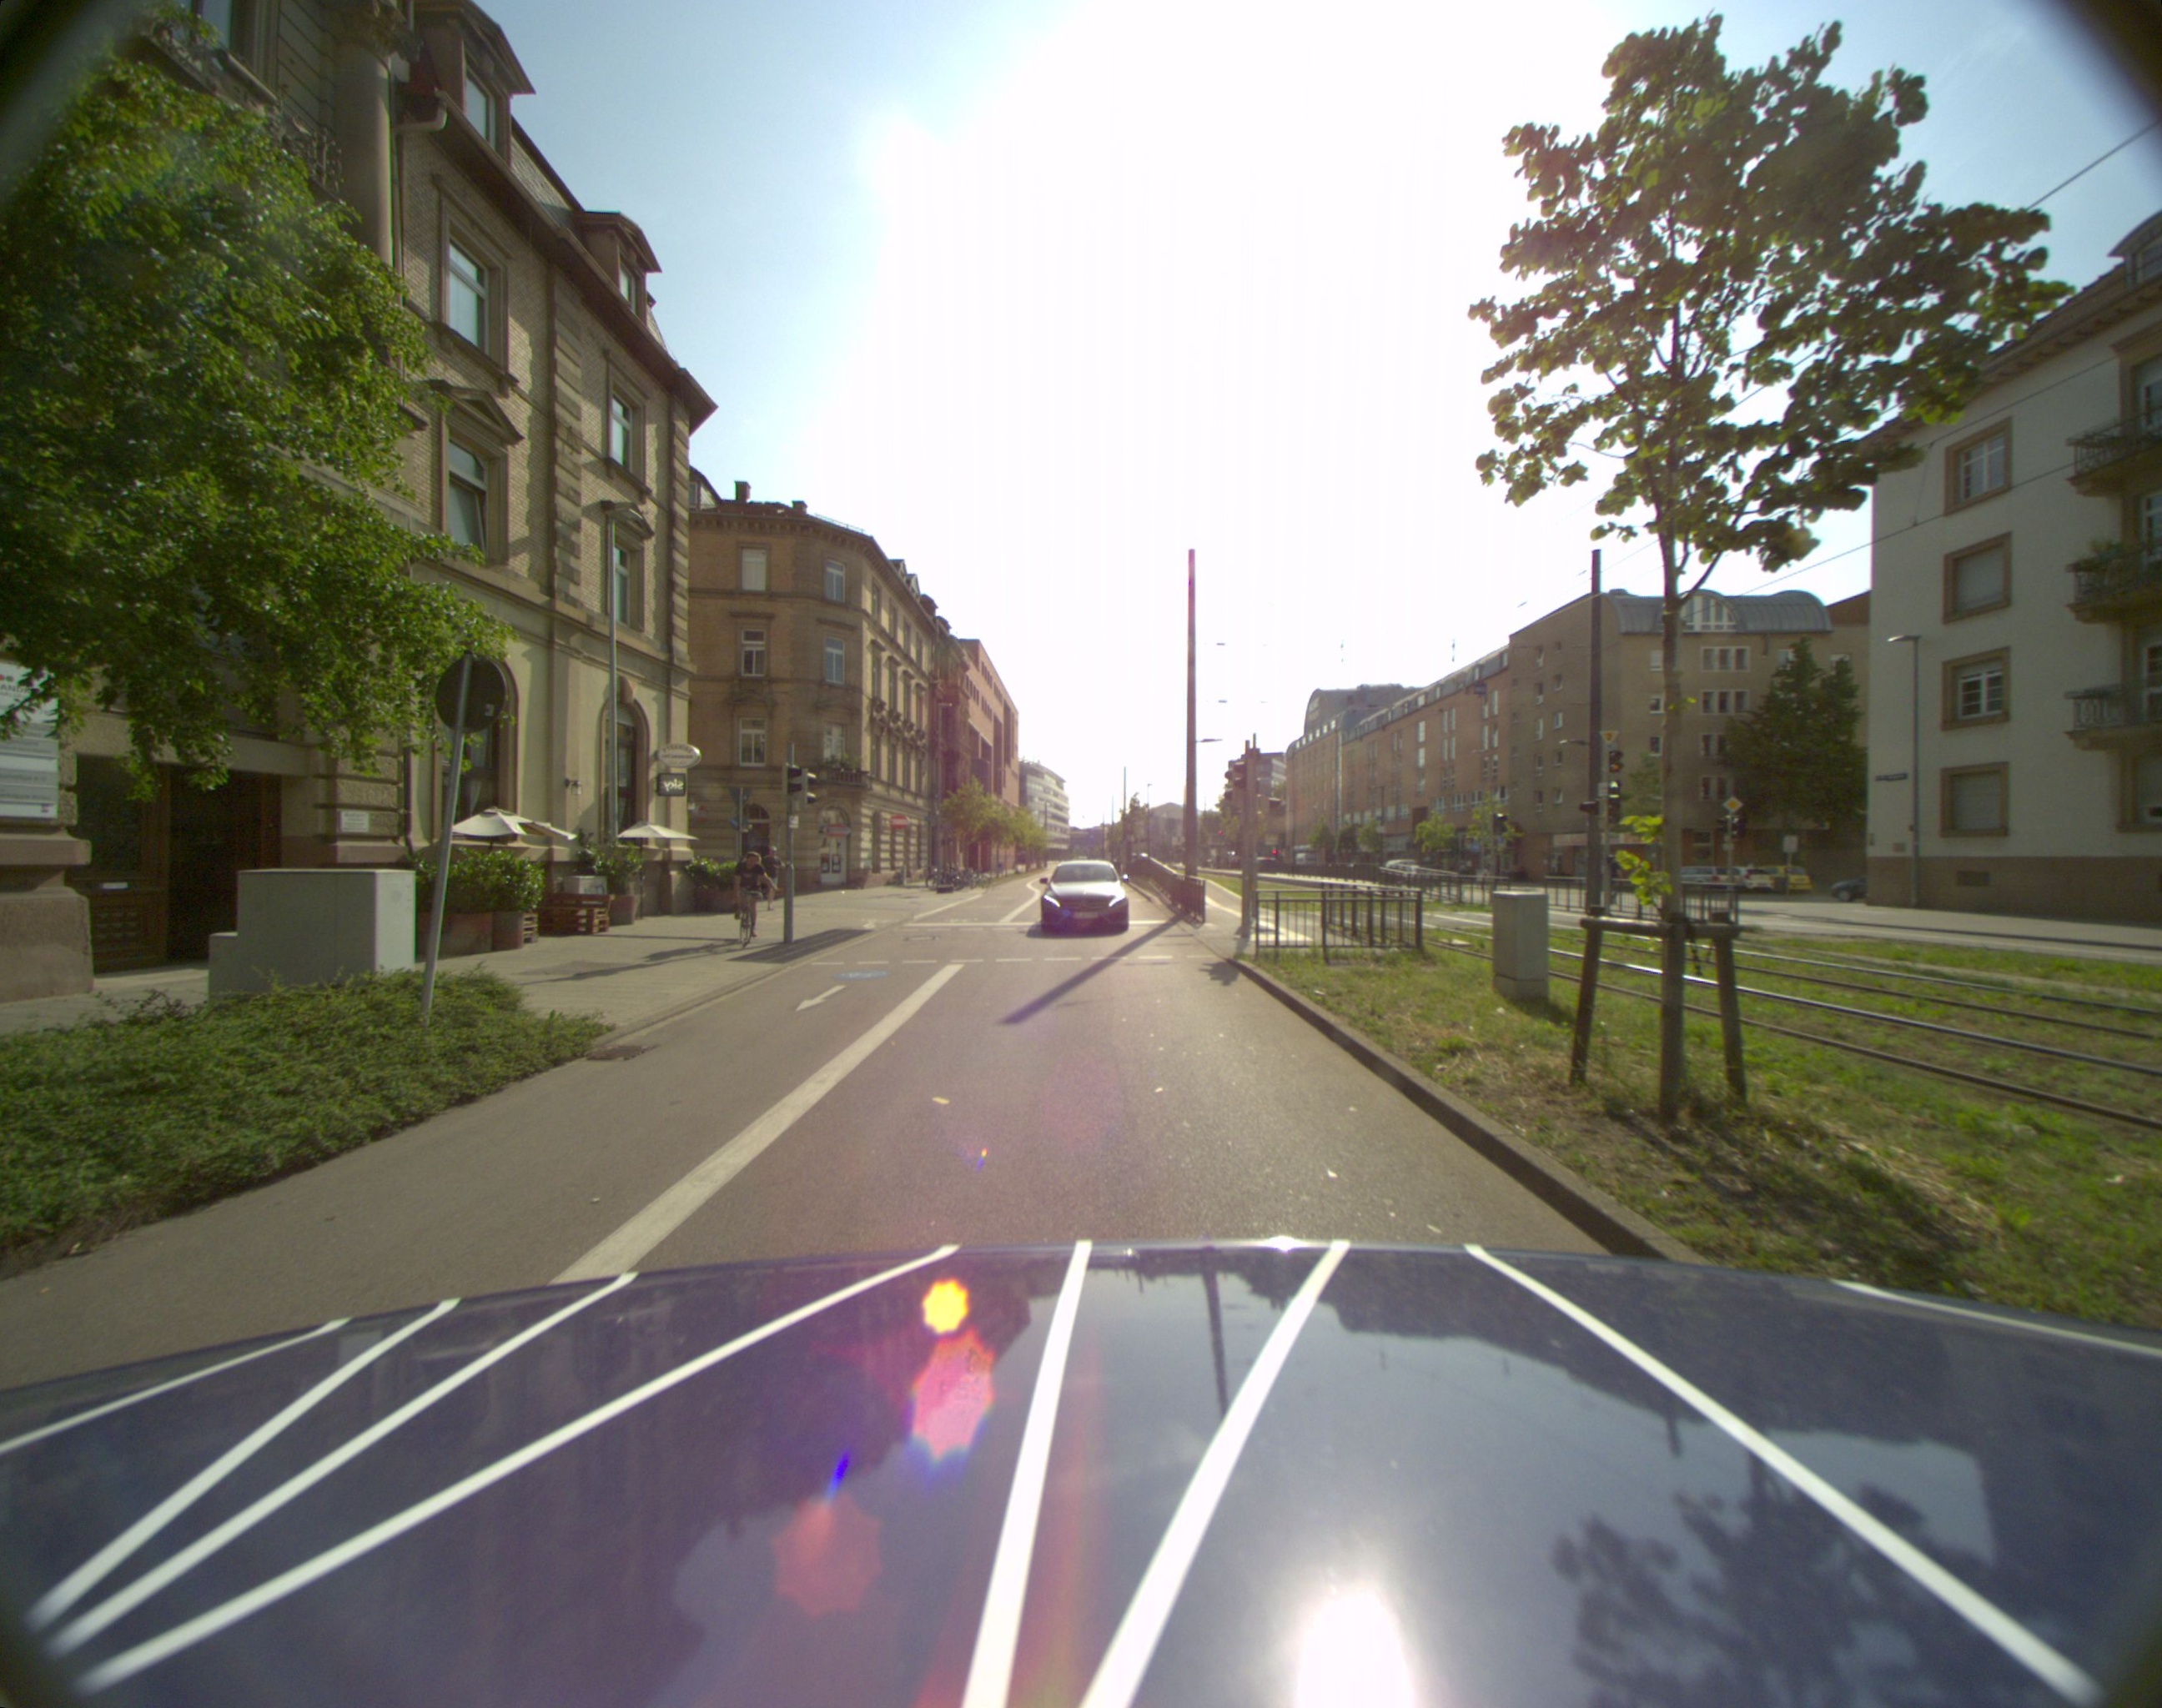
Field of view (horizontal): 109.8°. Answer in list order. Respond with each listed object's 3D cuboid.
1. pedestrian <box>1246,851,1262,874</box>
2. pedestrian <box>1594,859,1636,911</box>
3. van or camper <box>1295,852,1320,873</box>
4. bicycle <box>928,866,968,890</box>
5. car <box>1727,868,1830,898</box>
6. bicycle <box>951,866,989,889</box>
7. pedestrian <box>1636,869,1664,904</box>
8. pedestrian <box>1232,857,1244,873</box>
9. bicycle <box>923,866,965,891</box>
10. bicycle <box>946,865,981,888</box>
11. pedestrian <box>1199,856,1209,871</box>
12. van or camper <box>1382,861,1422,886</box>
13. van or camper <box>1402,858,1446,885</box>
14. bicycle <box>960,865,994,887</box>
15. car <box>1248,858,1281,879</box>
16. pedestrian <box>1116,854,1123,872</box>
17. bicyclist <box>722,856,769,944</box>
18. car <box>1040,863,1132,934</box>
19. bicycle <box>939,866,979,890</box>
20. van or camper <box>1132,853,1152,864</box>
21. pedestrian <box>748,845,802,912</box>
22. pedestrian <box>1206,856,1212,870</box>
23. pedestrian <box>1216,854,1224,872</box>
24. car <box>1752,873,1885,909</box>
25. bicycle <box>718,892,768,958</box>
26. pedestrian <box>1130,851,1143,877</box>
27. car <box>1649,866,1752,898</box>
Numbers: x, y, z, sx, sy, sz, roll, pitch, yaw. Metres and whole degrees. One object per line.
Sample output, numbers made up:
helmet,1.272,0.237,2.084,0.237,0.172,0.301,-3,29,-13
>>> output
pedestrian,14.125,0.678,62.040,0.940,1.861,0.740,0,1,-23
pedestrian,19.658,1.123,27.964,1.073,1.857,0.862,0,1,-26
van or camper,32.203,1.171,108.255,1.998,2.785,5.353,1,0,1
bicycle,-6.304,1.131,36.100,1.756,1.081,0.583,2,0,4
car,38.850,1.574,42.446,1.999,1.499,3.999,0,0,-2
bicycle,-5.697,1.214,38.876,1.763,1.081,0.671,3,0,-22
pedestrian,26.240,1.503,35.068,0.680,1.574,0.807,0,0,-2
pedestrian,14.933,1.008,72.256,0.679,1.522,0.810,0,1,-30
bicycle,-6.395,1.138,35.500,1.756,1.081,0.583,2,0,4
bicycle,-6.158,1.183,39.928,1.761,1.081,0.657,3,0,-8
pedestrian,14.689,1.086,90.767,0.787,1.736,0.833,2,1,-36
van or camper,27.090,1.579,64.184,1.997,2.002,4.002,0,0,6
van or camper,26.456,1.321,58.744,1.934,1.956,4.002,0,0,5
bicycle,-5.692,1.198,41.559,1.761,1.081,0.610,3,0,-8
car,18.113,1.433,75.213,1.998,2.002,4.932,0,0,0
pedestrian,3.934,0.933,78.006,0.675,1.747,0.727,-2,1,0
bicyclist,-5.876,0.791,13.351,0.586,1.474,0.930,2,1,-15
car,0.129,0.952,18.080,1.907,1.384,4.236,1,0,1
bicycle,-6.005,1.166,37.371,1.758,1.081,0.669,3,0,6
van or camper,12.554,0.873,156.003,1.939,2.198,3.975,0,0,-36
pedestrian,-8.489,0.682,21.101,0.862,1.795,0.995,1,-2,29
pedestrian,16.262,1.190,96.616,0.652,1.750,0.698,-2,1,2
pedestrian,14.780,0.923,80.679,0.807,1.875,0.555,0,1,2
car,31.251,1.521,32.358,1.585,1.346,3.998,0,0,-6
bicycle,-5.866,1.200,13.244,0.507,0.948,1.782,2,1,-15
pedestrian,4.401,0.802,59.837,0.835,2.002,1.028,-2,1,-2
car,33.652,1.507,41.465,1.768,1.590,4.554,0,0,-3
